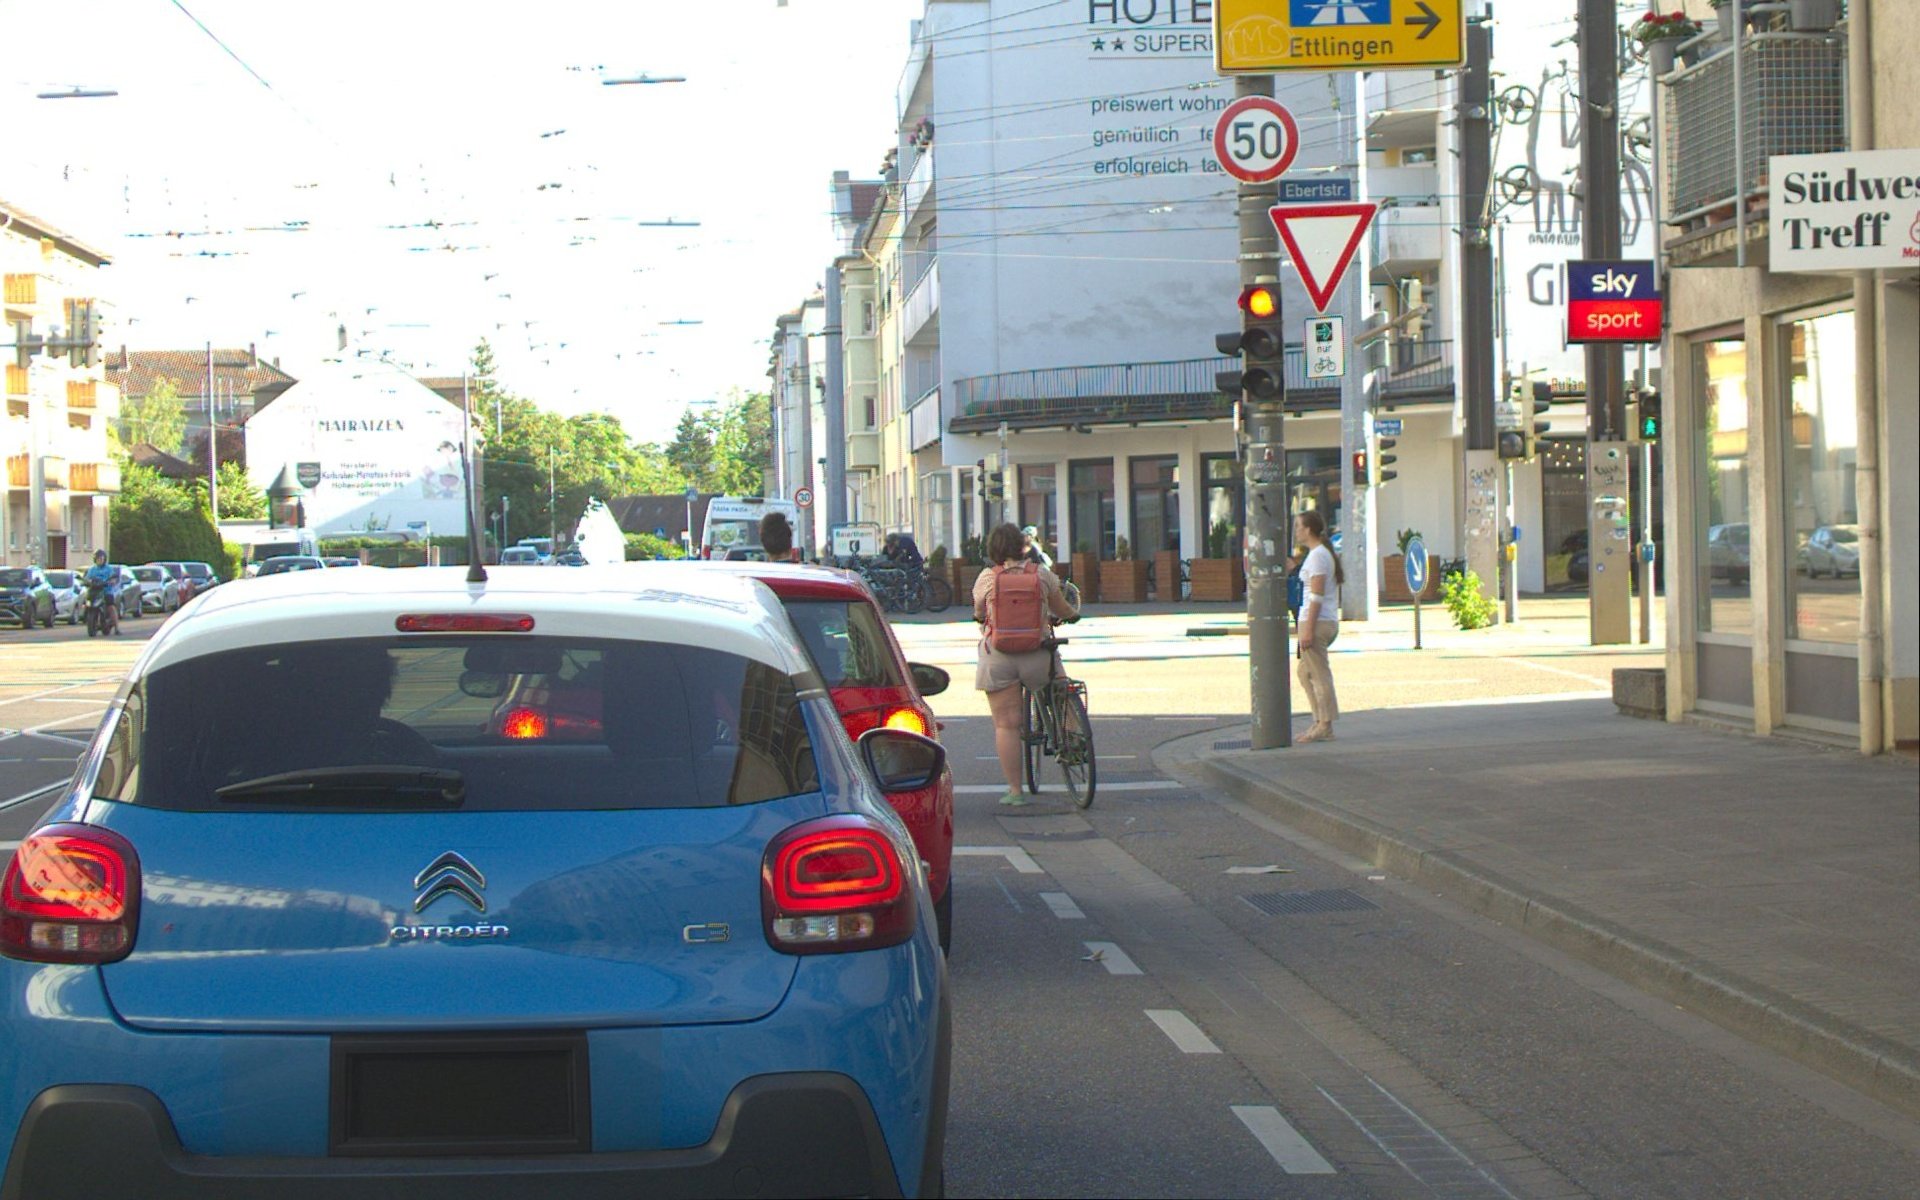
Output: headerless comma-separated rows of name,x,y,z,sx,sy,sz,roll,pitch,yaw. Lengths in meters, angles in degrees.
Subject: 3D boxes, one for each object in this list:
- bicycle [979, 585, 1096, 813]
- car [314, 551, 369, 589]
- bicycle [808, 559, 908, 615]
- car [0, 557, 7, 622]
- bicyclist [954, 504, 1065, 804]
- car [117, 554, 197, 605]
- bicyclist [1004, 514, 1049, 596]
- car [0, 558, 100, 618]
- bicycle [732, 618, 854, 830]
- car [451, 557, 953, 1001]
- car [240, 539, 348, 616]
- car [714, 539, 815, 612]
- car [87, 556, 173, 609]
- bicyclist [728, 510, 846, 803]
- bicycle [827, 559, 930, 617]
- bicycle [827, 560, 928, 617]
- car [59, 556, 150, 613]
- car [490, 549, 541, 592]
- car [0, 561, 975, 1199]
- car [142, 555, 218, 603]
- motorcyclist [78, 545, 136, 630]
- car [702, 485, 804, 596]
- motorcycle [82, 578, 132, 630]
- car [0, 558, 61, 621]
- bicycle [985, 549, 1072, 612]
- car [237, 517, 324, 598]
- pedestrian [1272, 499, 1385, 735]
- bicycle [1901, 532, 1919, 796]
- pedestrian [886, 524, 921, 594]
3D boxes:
bicycle,0.447,0.563,20.646,0.613,1.260,1.911,-1,1,-1
car,-25.980,-1.281,144.573,1.950,1.514,4.001,-1,1,-6
bicycle,-2.028,-0.271,68.317,1.904,1.061,0.642,-1,1,-7
car,-23.323,-0.195,79.229,1.950,1.514,4.001,-1,1,-6
bicyclist,0.290,0.307,20.604,0.600,1.740,1.084,-1,1,-1
car,-25.362,-0.673,108.661,1.950,1.514,4.001,-1,1,-6
bicyclist,1.191,-0.808,61.448,0.727,1.429,0.605,-1,1,6
car,-24.308,-0.336,91.951,1.950,1.514,4.001,-1,1,-6
bicycle,-0.978,0.683,19.753,0.616,1.099,1.886,-1,1,-5
car,-1.006,0.580,13.589,1.680,1.457,4.001,0,1,-4
car,-14.858,-0.531,76.962,2.004,1.622,5.054,-1,1,-7
car,-3.884,-0.513,67.809,1.786,1.354,3.915,-1,1,-6
car,-24.928,-0.543,103.382,1.950,1.514,4.001,-1,1,-6
bicyclist,-0.995,0.309,19.643,0.616,1.624,0.760,-1,1,-4
bicycle,-1.559,-0.239,65.819,1.904,1.061,0.642,-1,1,-7
bicycle,-1.609,-0.233,67.125,1.904,1.061,0.642,-1,1,-7
car,-24.461,-0.459,98.378,1.950,1.514,4.001,-1,1,-6
car,-22.050,-1.500,170.845,2.338,2.032,5.051,-1,1,-6
car,-0.959,0.672,7.380,1.680,1.457,4.001,0,1,-4
car,-26.072,-0.722,115.003,1.950,1.514,4.001,-1,1,-6
motorcyclist,-16.676,-0.252,67.217,0.991,1.625,0.739,-1,1,-9
car,-4.434,-1.275,73.245,2.079,2.262,5.652,0,1,-4
motorcycle,-16.696,0.073,67.290,0.751,0.973,2.098,-1,1,-9
car,-23.788,-0.268,85.893,1.950,1.514,4.001,-1,1,-6
bicycle,1.232,-0.352,61.452,1.489,1.087,0.605,-1,1,6
car,-23.665,-1.504,119.939,2.493,2.703,5.839,-1,1,-7
pedestrian,2.601,0.112,24.314,0.751,1.629,0.740,-1,1,6
bicycle,4.914,0.317,15.758,0.640,1.260,1.911,-1,1,-1
pedestrian,-1.155,-0.842,70.263,0.525,1.415,0.546,-1,1,20
